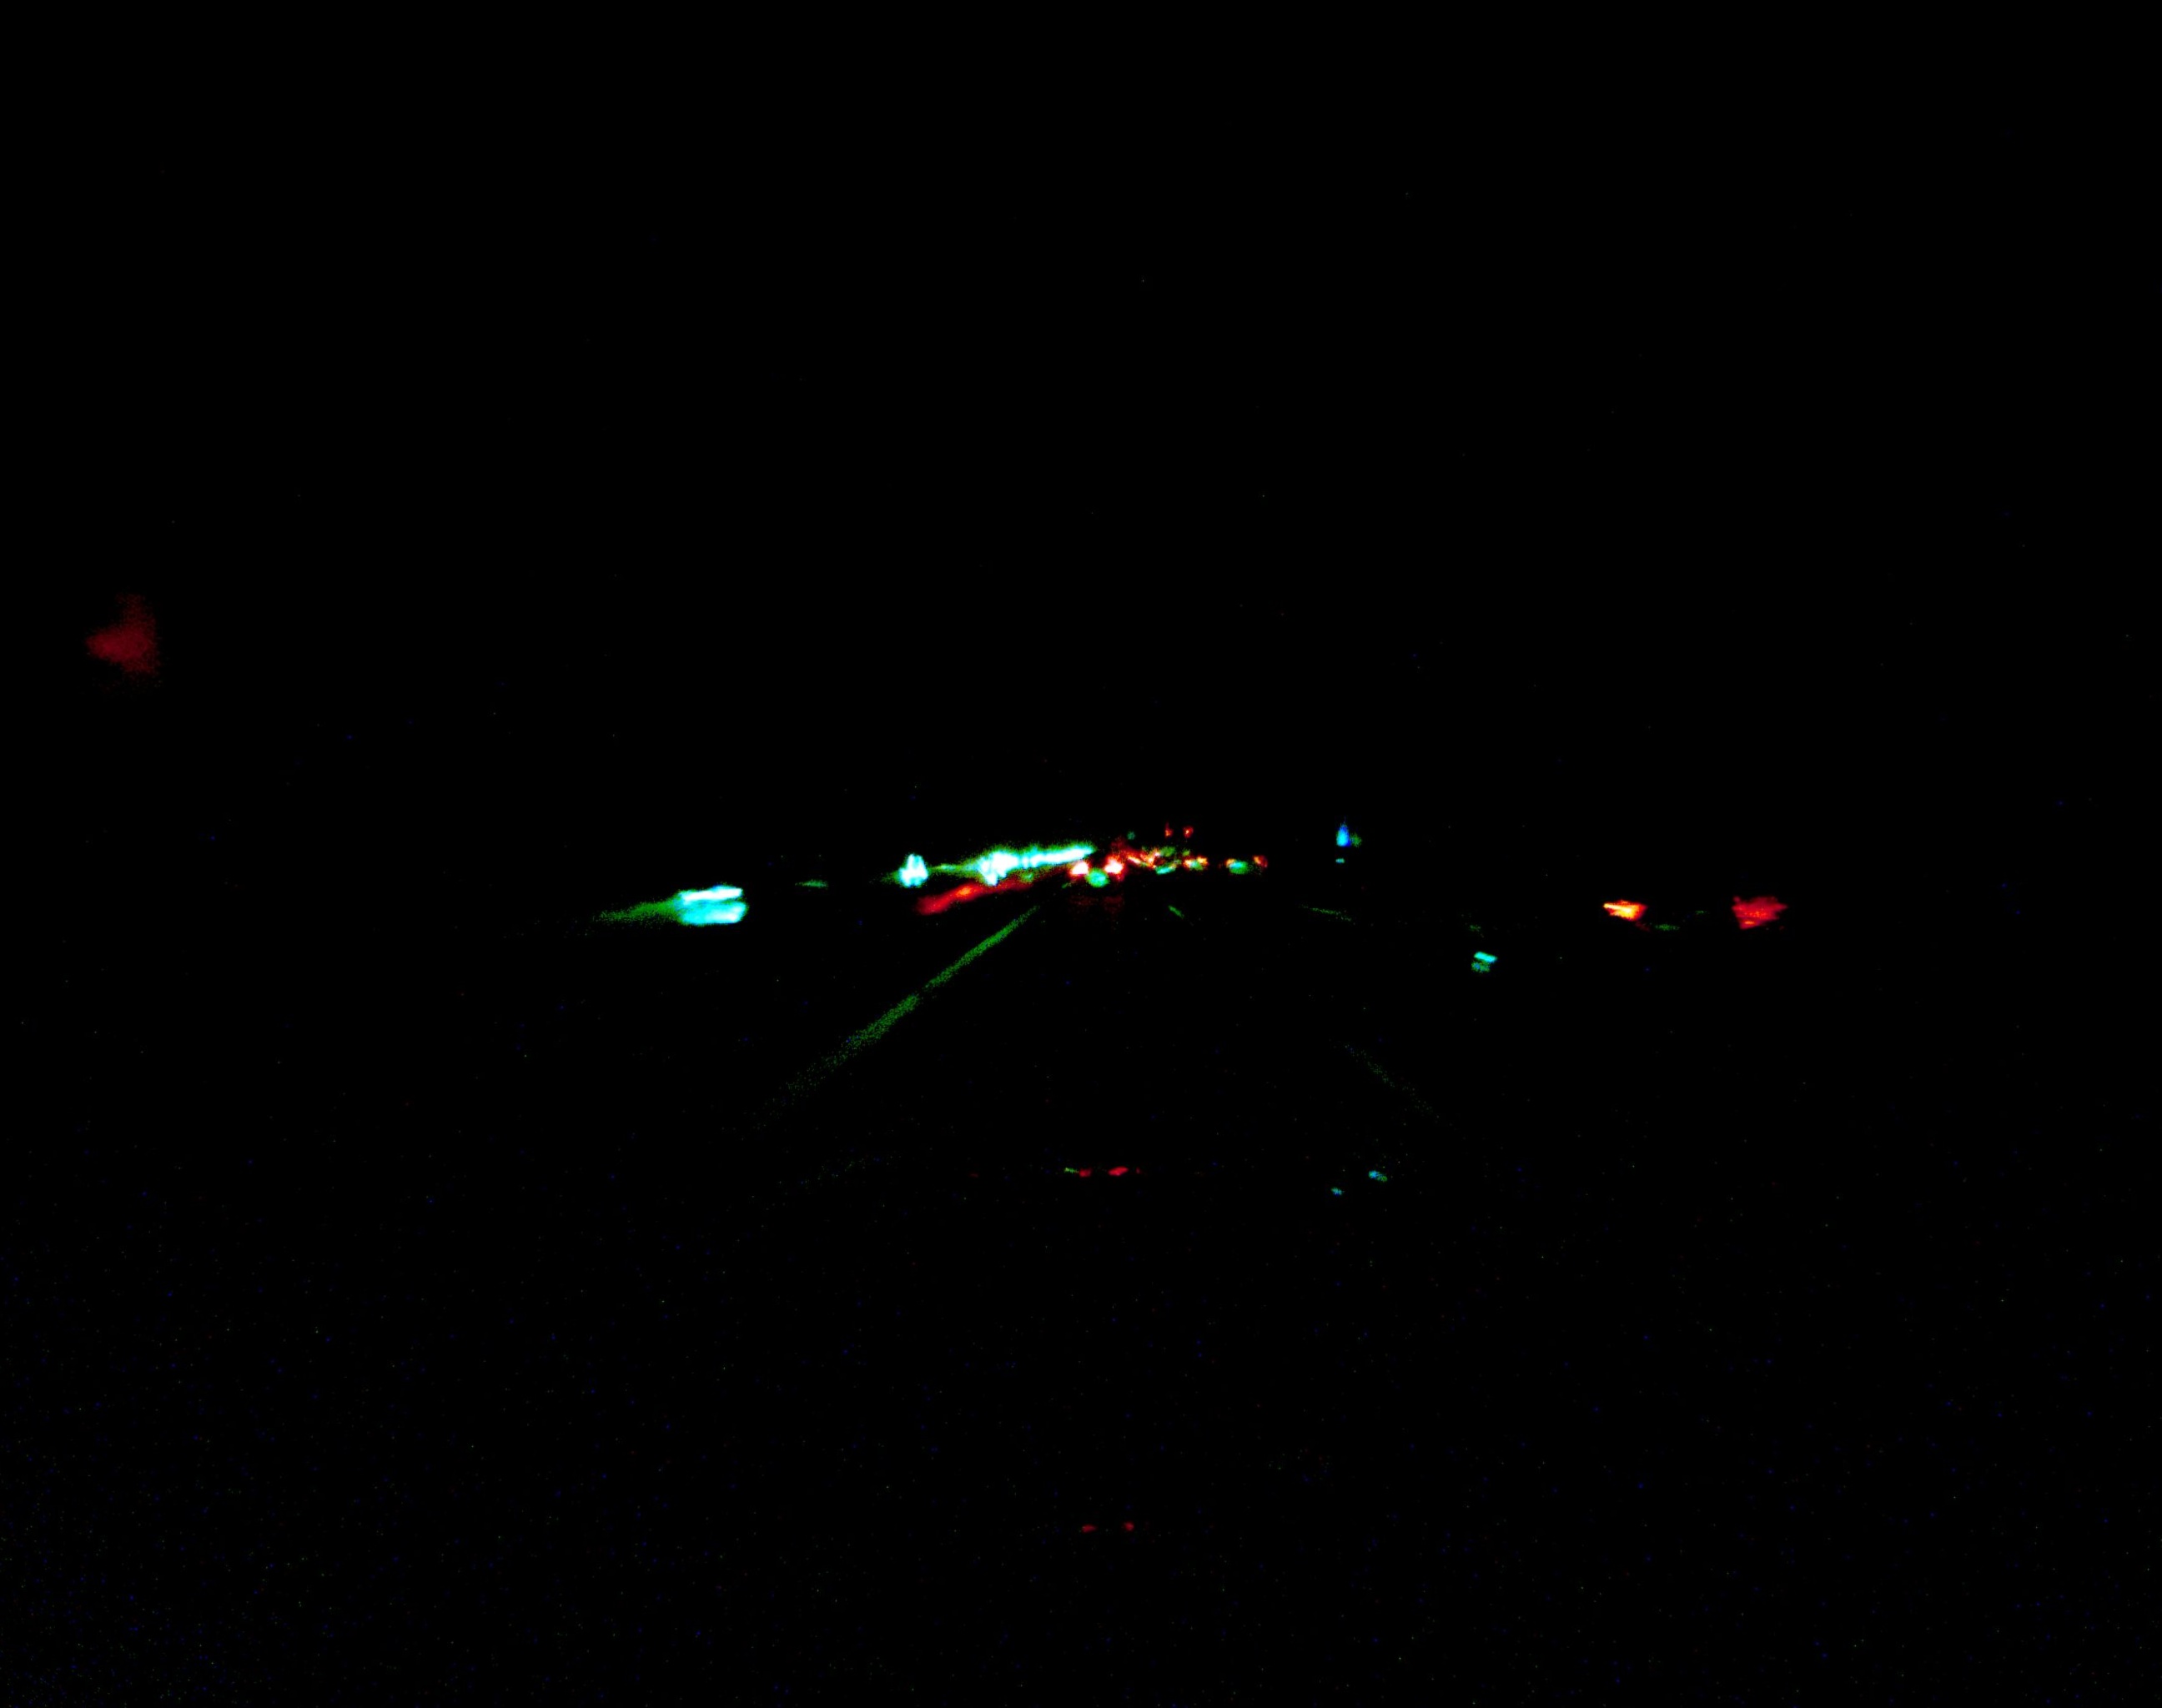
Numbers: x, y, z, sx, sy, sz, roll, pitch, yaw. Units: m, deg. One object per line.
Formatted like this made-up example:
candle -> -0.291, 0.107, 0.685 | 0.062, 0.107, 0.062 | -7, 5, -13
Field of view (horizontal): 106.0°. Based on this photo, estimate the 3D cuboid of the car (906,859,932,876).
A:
car -> -20.427, 1.632, 103.011 | 1.986, 1.948, 5.388 | -3, 0, 2

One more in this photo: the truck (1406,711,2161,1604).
truck -> 3.026, 0.579, 3.041 | 1.836, 1.696, 4.857 | 0, 0, 2

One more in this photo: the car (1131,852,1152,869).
car -> 5.996, 0.650, 81.335 | 1.877, 1.588, 4.001 | -1, 0, 1

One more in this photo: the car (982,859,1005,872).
car -> -10.223, 1.347, 95.652 | 1.986, 1.415, 4.591 | -3, 0, 1

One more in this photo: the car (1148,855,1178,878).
car -> 5.318, 0.803, 53.284 | 1.607, 1.412, 3.792 | -1, 0, 1

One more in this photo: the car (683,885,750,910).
car -> -18.889, 2.251, 42.349 | 1.632, 1.102, 4.046 | 0, 0, 0

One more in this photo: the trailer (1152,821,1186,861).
trailer -> 9.917, -1.398, 92.699 | 2.793, 4.212, 12.101 | -1, 0, 2

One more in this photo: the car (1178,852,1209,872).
car -> 9.350, 0.637, 68.002 | 1.887, 1.486, 4.962 | 0, 0, 1

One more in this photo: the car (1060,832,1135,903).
car -> 0.644, 0.489, 33.751 | 2.701, 2.534, 5.830 | -3, 0, 0

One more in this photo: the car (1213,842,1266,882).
car -> 8.818, 0.402, 45.696 | 2.038, 1.974, 5.411 | -3, 0, 3
